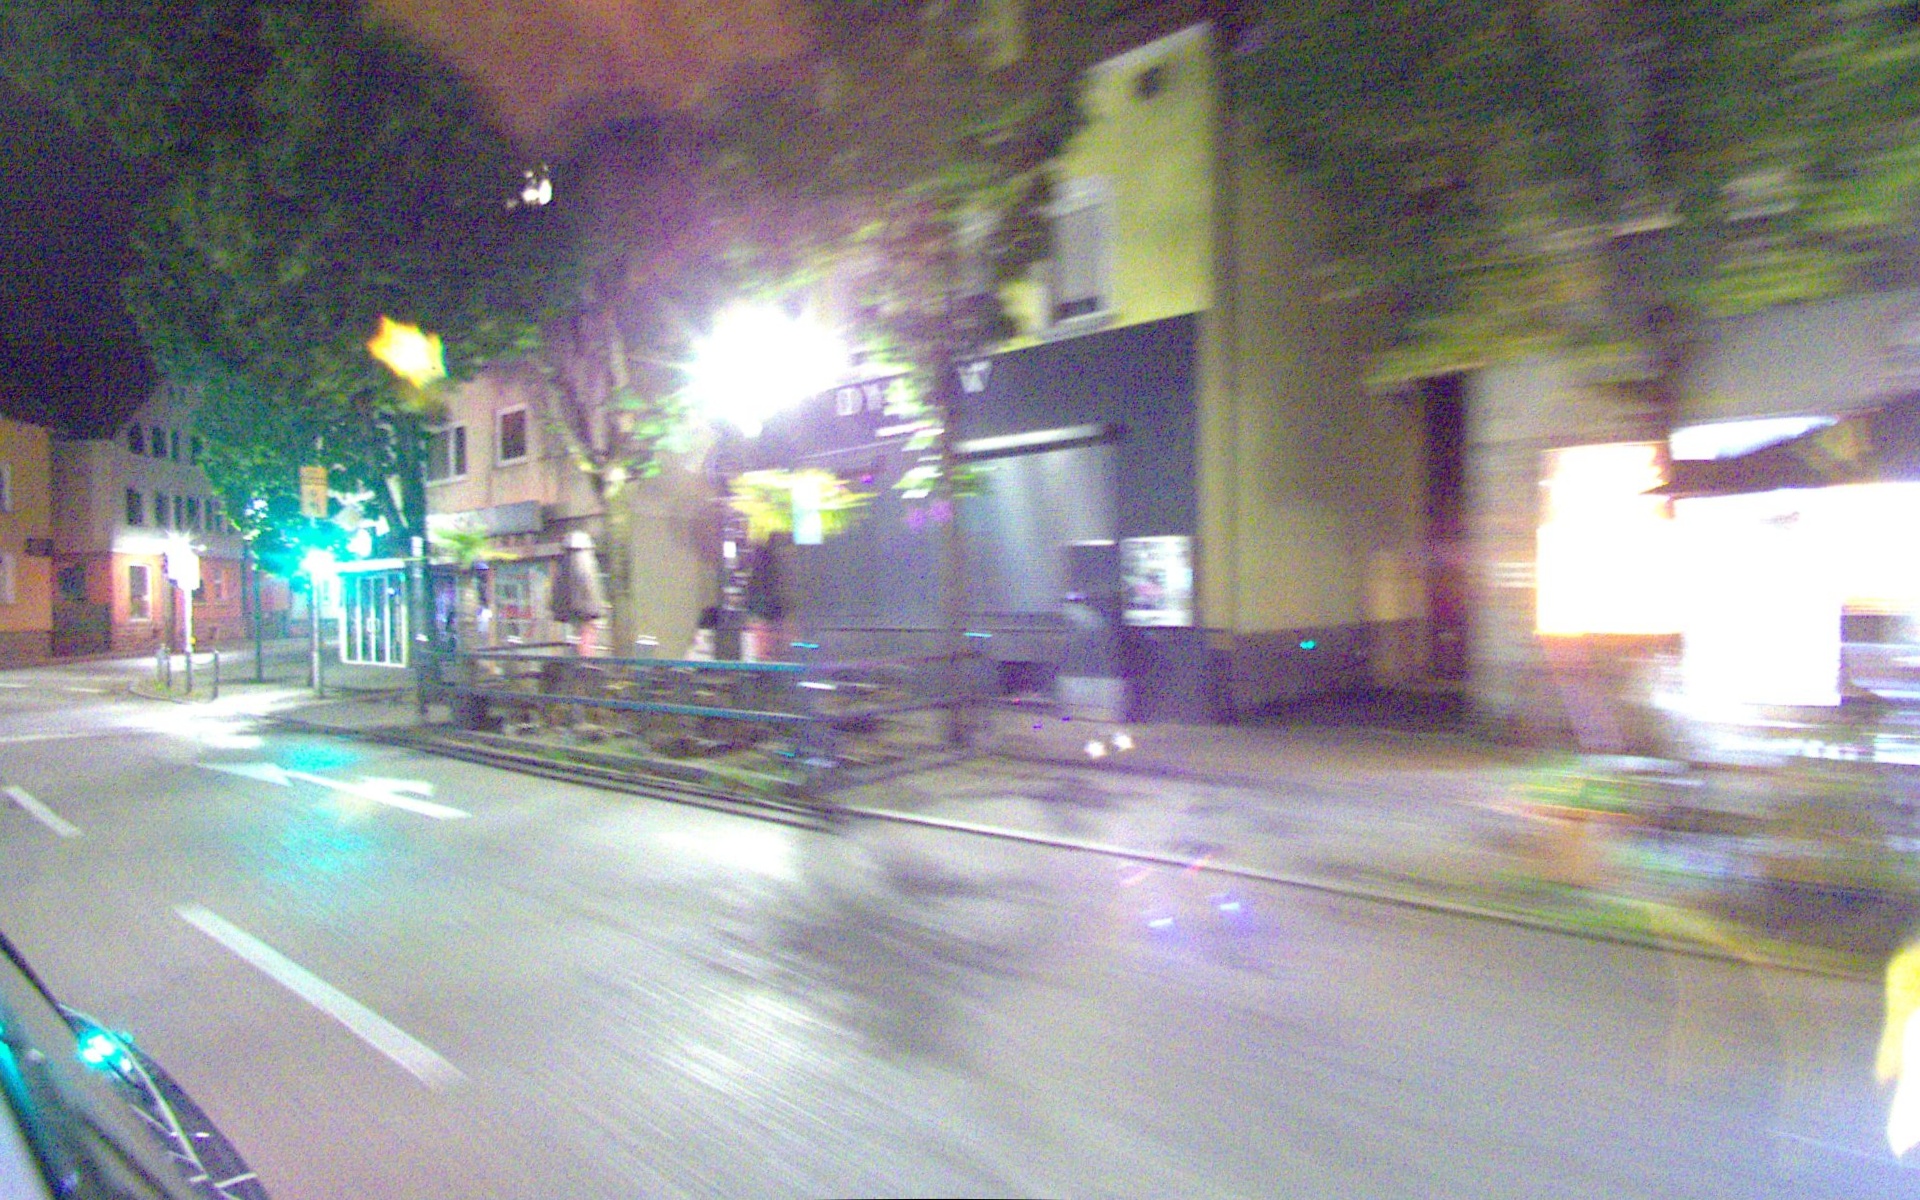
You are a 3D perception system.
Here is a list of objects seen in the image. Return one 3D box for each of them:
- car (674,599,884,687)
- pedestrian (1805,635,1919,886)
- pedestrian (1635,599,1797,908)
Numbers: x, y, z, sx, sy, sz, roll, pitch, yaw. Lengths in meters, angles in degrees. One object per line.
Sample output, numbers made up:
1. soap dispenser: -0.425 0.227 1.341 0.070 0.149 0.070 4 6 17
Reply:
1. car: -3.567 0.799 20.495 1.818 1.538 3.948 -2 0 39
2. pedestrian: 4.726 0.773 5.063 0.676 1.173 0.570 -2 -1 34
3. pedestrian: 3.711 0.701 5.017 0.575 1.388 0.670 -2 -1 34
